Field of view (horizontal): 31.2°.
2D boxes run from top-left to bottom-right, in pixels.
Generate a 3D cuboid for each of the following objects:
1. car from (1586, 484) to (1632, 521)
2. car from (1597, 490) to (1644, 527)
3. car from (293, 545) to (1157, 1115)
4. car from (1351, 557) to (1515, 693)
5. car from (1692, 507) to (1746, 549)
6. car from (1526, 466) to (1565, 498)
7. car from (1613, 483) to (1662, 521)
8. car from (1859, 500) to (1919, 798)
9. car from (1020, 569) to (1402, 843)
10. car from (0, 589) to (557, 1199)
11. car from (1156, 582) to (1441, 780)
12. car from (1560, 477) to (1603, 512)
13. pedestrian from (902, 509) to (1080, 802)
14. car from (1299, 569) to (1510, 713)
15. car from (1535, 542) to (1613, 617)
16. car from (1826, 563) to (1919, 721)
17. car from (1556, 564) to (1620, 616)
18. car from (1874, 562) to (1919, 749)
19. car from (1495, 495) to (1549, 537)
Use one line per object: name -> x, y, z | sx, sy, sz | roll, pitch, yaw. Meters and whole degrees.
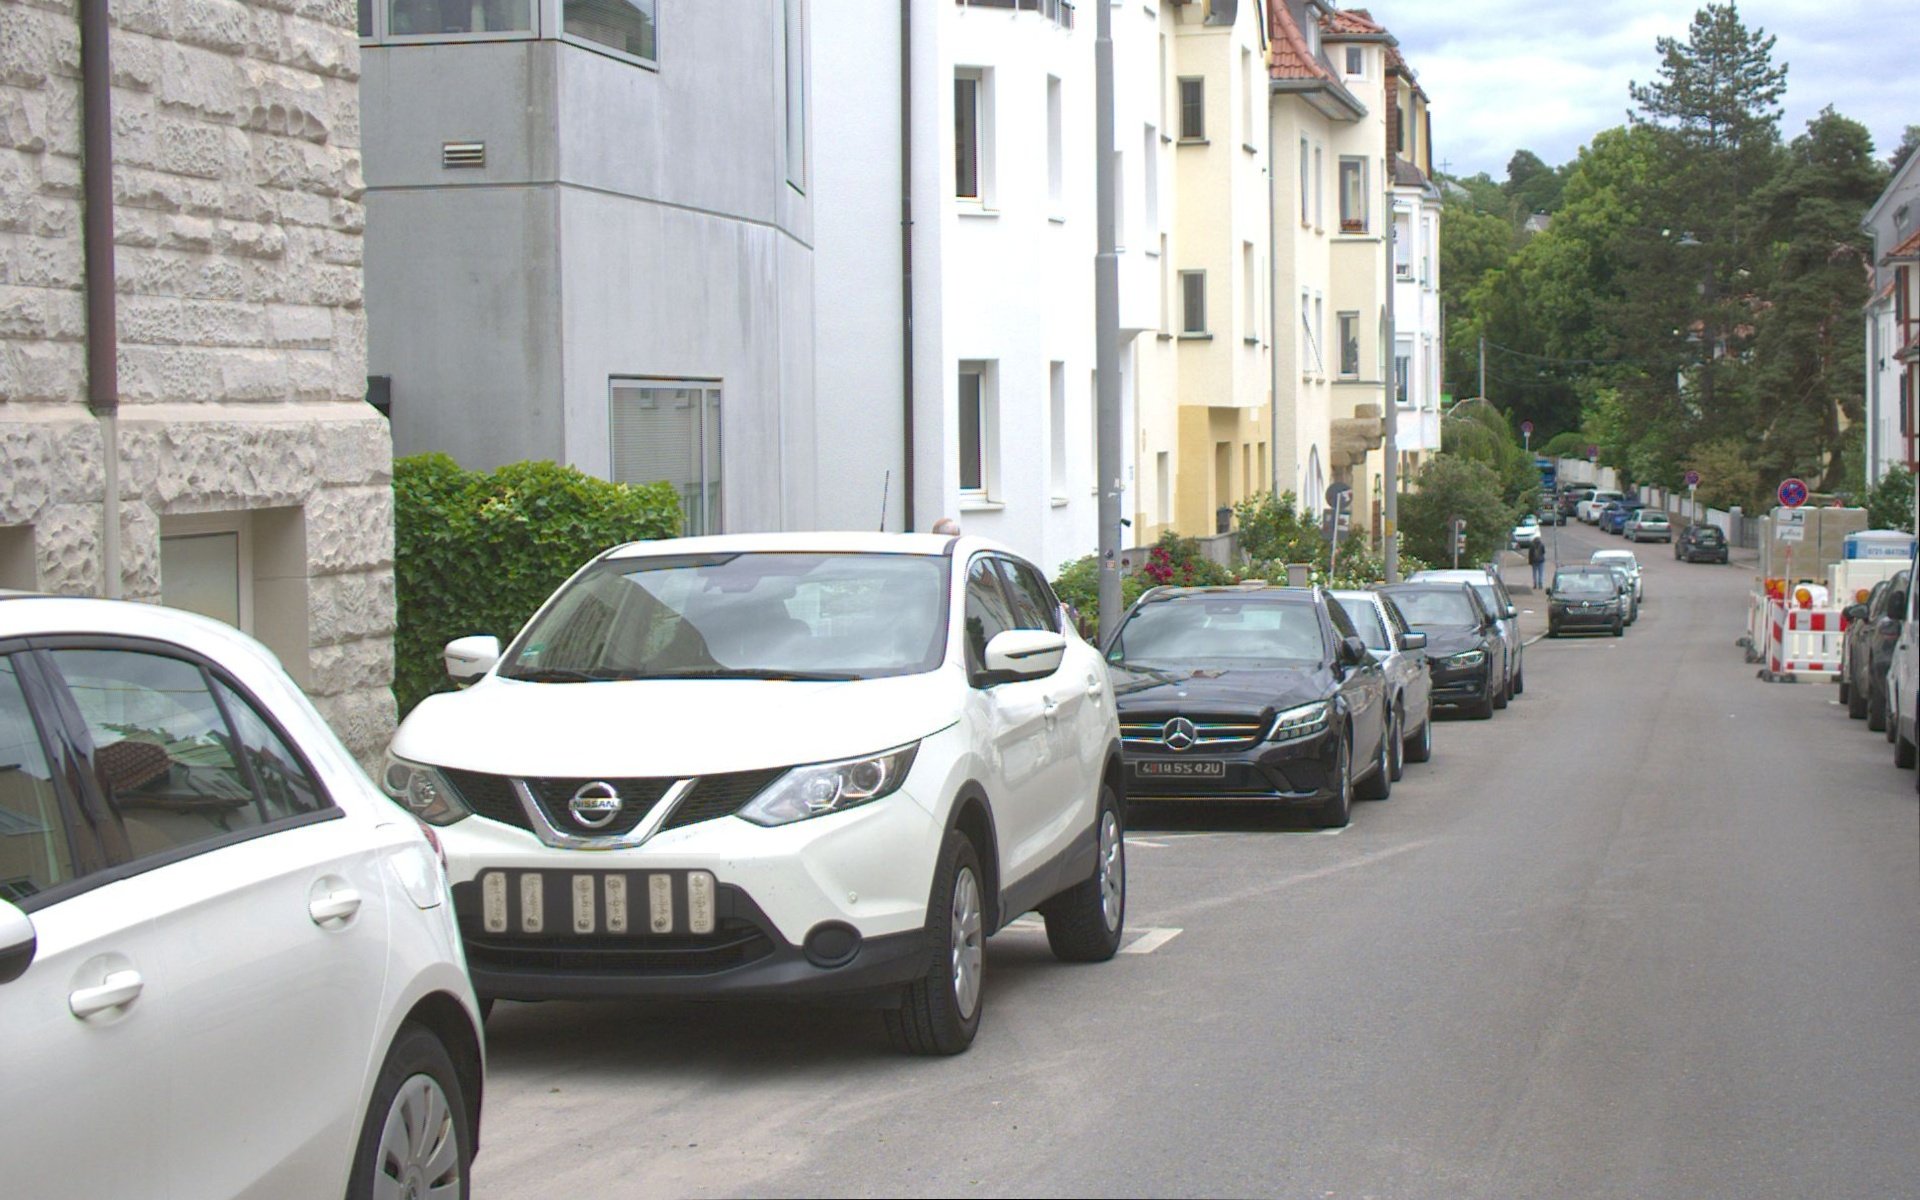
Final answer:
car -> 30.562, -4.599, 161.920 | 1.634, 1.532, 3.530 | 1, 4, 4
car -> 29.983, -4.179, 156.064 | 1.634, 1.479, 3.530 | 1, 4, 4
car -> -0.536, 0.584, 11.359 | 1.846, 1.510, 4.239 | 0, 1, 11
car -> 6.008, 0.276, 43.330 | 1.846, 1.625, 4.284 | 0, 1, 11
car -> 30.750, -2.917, 139.404 | 1.634, 1.479, 3.530 | 1, 4, 5
car -> 31.136, -6.268, 182.934 | 1.634, 1.532, 3.530 | 1, 4, 4
car -> 29.753, -4.319, 151.021 | 1.634, 1.479, 3.530 | 1, 4, 4
car -> 7.983, 0.331, 25.986 | 1.906, 2.023, 5.730 | 2, 1, 11
car -> 1.684, 0.569, 21.557 | 1.896, 1.522, 4.469 | 0, 1, 11
car -> -1.998, 0.708, 4.661 | 1.700, 1.409, 4.239 | 0, 1, 11
car -> 2.823, 0.573, 27.679 | 1.846, 1.408, 5.059 | 0, 1, 11
car -> 30.417, -5.187, 168.261 | 1.634, 1.532, 3.530 | 1, 4, 4
pedestrian -> 0.205, 0.354, 22.590 | 0.818, 1.878, 0.845 | 0, 0, 35
car -> 4.891, 0.428, 37.365 | 1.846, 1.452, 4.502 | -1, 0, 13
car -> 15.295, -0.504, 85.712 | 1.845, 1.809, 4.542 | -1, 0, 10
car -> 10.366, 0.421, 37.219 | 1.714, 1.591, 4.496 | 2, 1, 12
car -> 17.563, -0.290, 96.089 | 1.643, 1.412, 3.982 | -1, 0, 12
car -> 8.974, 0.480, 30.588 | 1.488, 1.591, 2.789 | 2, 1, 13
car -> 24.457, -3.681, 149.731 | 1.672, 1.651, 3.864 | -1, 3, 0
